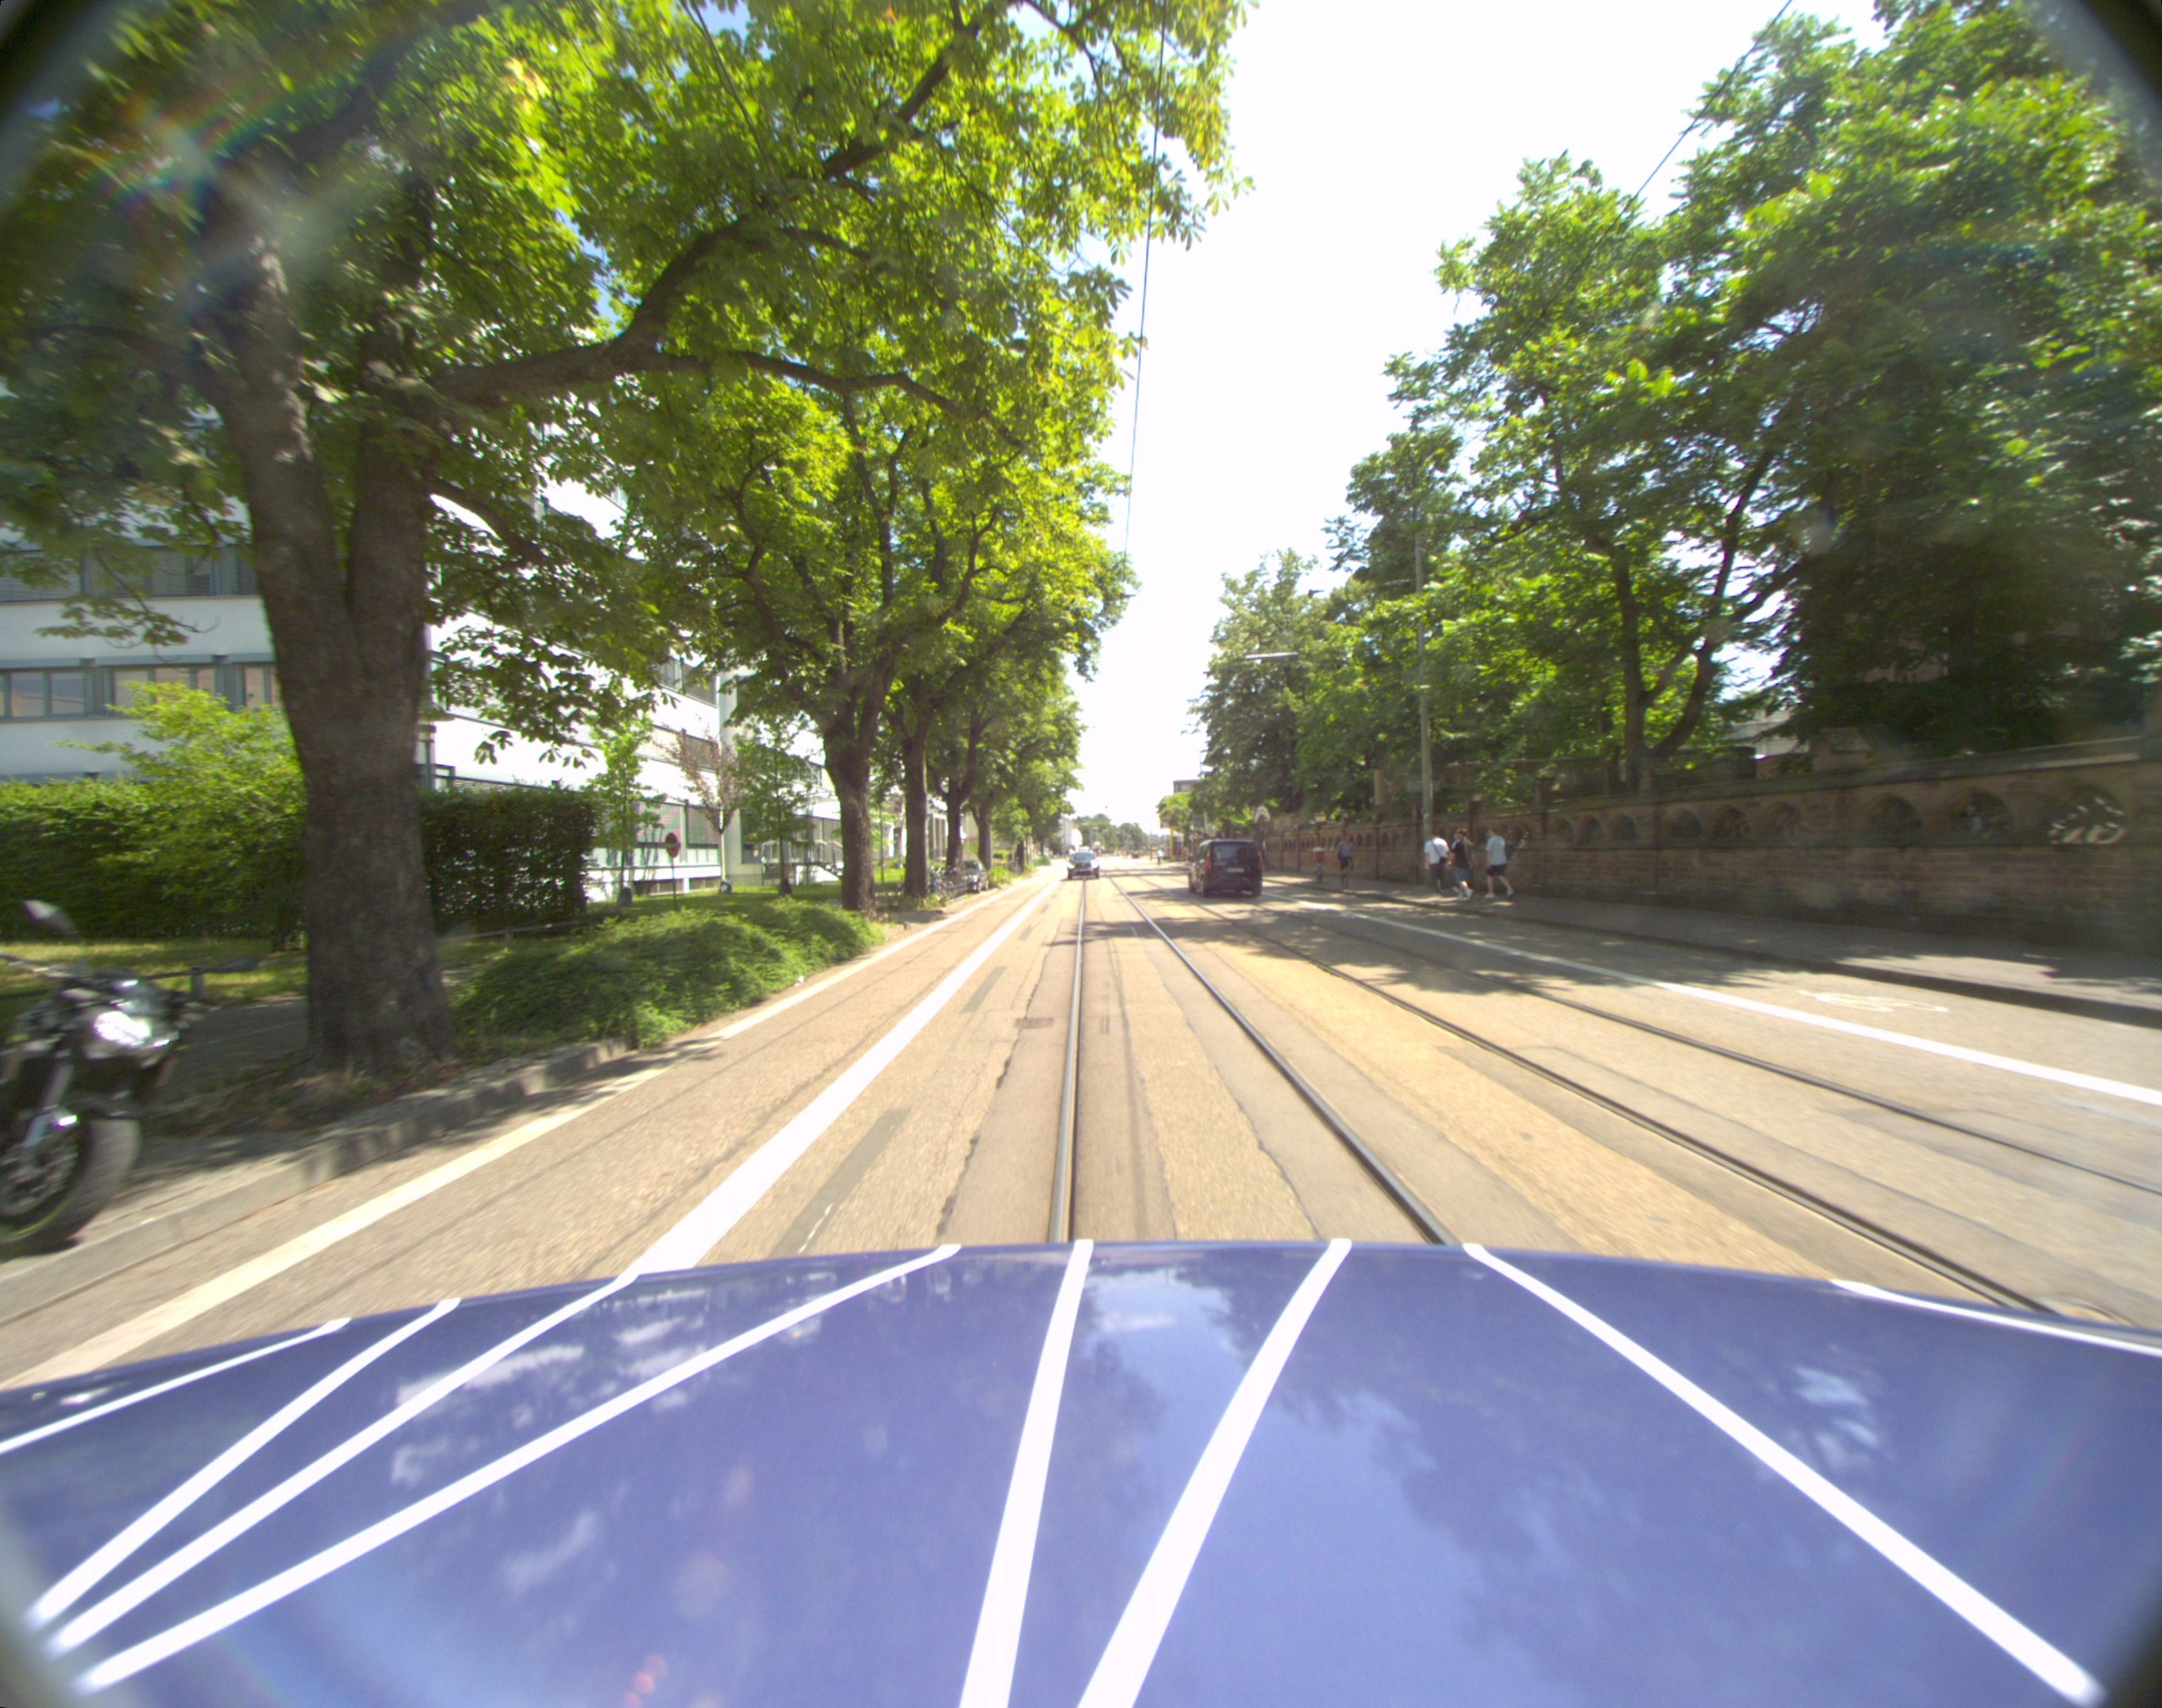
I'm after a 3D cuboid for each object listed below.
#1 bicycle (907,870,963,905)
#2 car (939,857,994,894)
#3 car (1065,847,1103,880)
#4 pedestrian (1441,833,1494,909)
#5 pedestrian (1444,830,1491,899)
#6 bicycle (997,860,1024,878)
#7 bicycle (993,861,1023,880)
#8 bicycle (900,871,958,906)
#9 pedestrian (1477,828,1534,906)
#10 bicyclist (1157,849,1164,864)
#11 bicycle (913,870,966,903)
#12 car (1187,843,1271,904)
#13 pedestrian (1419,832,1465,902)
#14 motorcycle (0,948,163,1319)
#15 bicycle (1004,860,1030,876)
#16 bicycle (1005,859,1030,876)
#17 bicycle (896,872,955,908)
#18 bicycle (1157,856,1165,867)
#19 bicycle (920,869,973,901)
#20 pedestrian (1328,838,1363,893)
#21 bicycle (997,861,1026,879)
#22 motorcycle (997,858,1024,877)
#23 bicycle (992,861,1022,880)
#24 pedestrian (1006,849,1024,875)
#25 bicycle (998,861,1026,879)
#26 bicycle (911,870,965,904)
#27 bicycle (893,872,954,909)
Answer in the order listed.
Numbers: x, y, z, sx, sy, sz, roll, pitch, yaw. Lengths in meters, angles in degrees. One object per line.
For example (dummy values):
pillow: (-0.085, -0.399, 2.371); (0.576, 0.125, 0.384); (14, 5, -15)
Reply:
bicycle: (-4.946, 1.131, 25.694); (1.814, 1.105, 0.489); (-1, 1, -13)
car: (-4.909, 0.877, 33.063); (1.681, 1.458, 4.634); (-1, 0, 0)
car: (0.204, 0.509, 43.926); (1.998, 1.731, 4.227); (-3, 0, 1)
pedestrian: (9.242, 0.395, 18.209); (0.679, 1.738, 0.919); (-5, 1, 0)
pedestrian: (10.352, 0.281, 20.389); (0.679, 1.766, 0.919); (-5, 1, 0)
bicycle: (-4.854, 1.046, 52.354); (1.813, 1.105, 0.569); (-3, 1, -3)
bicycle: (-4.793, 1.066, 49.967); (1.813, 1.105, 0.569); (-3, 1, -3)
bicycle: (-4.951, 1.129, 24.821); (1.812, 1.105, 0.395); (-1, 1, -2)
pedestrian: (10.254, 0.307, 18.395); (0.754, 1.766, 0.919); (-5, 1, 0)
bicyclist: (8.173, 0.260, 78.039); (0.665, 1.616, 0.919); (0, 1, 0)
bicycle: (-5.009, 1.136, 26.971); (1.813, 1.105, 0.535); (-1, 1, -8)
car: (4.689, 0.566, 24.721); (1.909, 1.778, 4.255); (-1, 0, 1)
pedestrian: (9.611, 0.329, 20.272); (0.679, 1.780, 0.919); (-5, 1, 0)
motorcycle: (-4.819, 1.151, 3.552); (2.056, 1.206, 0.614); (-1, 2, 40)
bicycle: (-4.727, 1.023, 56.142); (1.819, 1.158, 0.710); (-2, 1, -7)
bicycle: (-4.809, 1.022, 57.449); (1.819, 1.158, 0.710); (-2, 1, -7)
bicycle: (-4.983, 1.138, 24.421); (1.813, 1.105, 0.395); (-1, 1, -3)
bicycle: (8.172, 0.746, 77.969); (0.661, 1.156, 1.895); (0, 0, 1)
bicycle: (-4.871, 1.121, 27.623); (1.813, 1.105, 0.514); (-1, 1, -3)
pedestrian: (8.932, 0.393, 25.690); (0.723, 1.781, 0.919); (-5, 1, 0)
bicycle: (-4.608, 1.045, 50.613); (1.813, 1.105, 0.569); (-3, 1, -3)
motorcycle: (-4.999, 0.969, 54.005); (1.819, 1.269, 0.720); (-2, 1, -7)
bicycle: (-4.820, 1.070, 49.293); (1.846, 1.105, 0.569); (-3, 1, -3)
pedestrian: (-4.967, 0.597, 56.845); (0.986, 1.822, 0.786); (-3, 1, -43)
bicycle: (-4.633, 1.050, 51.183); (1.813, 1.105, 0.569); (-3, 1, -3)
bicycle: (-4.943, 1.139, 26.352); (1.813, 1.105, 0.533); (-1, 1, -8)
bicycle: (-4.975, 1.138, 23.991); (1.812, 1.105, 0.449); (-1, 1, -2)
